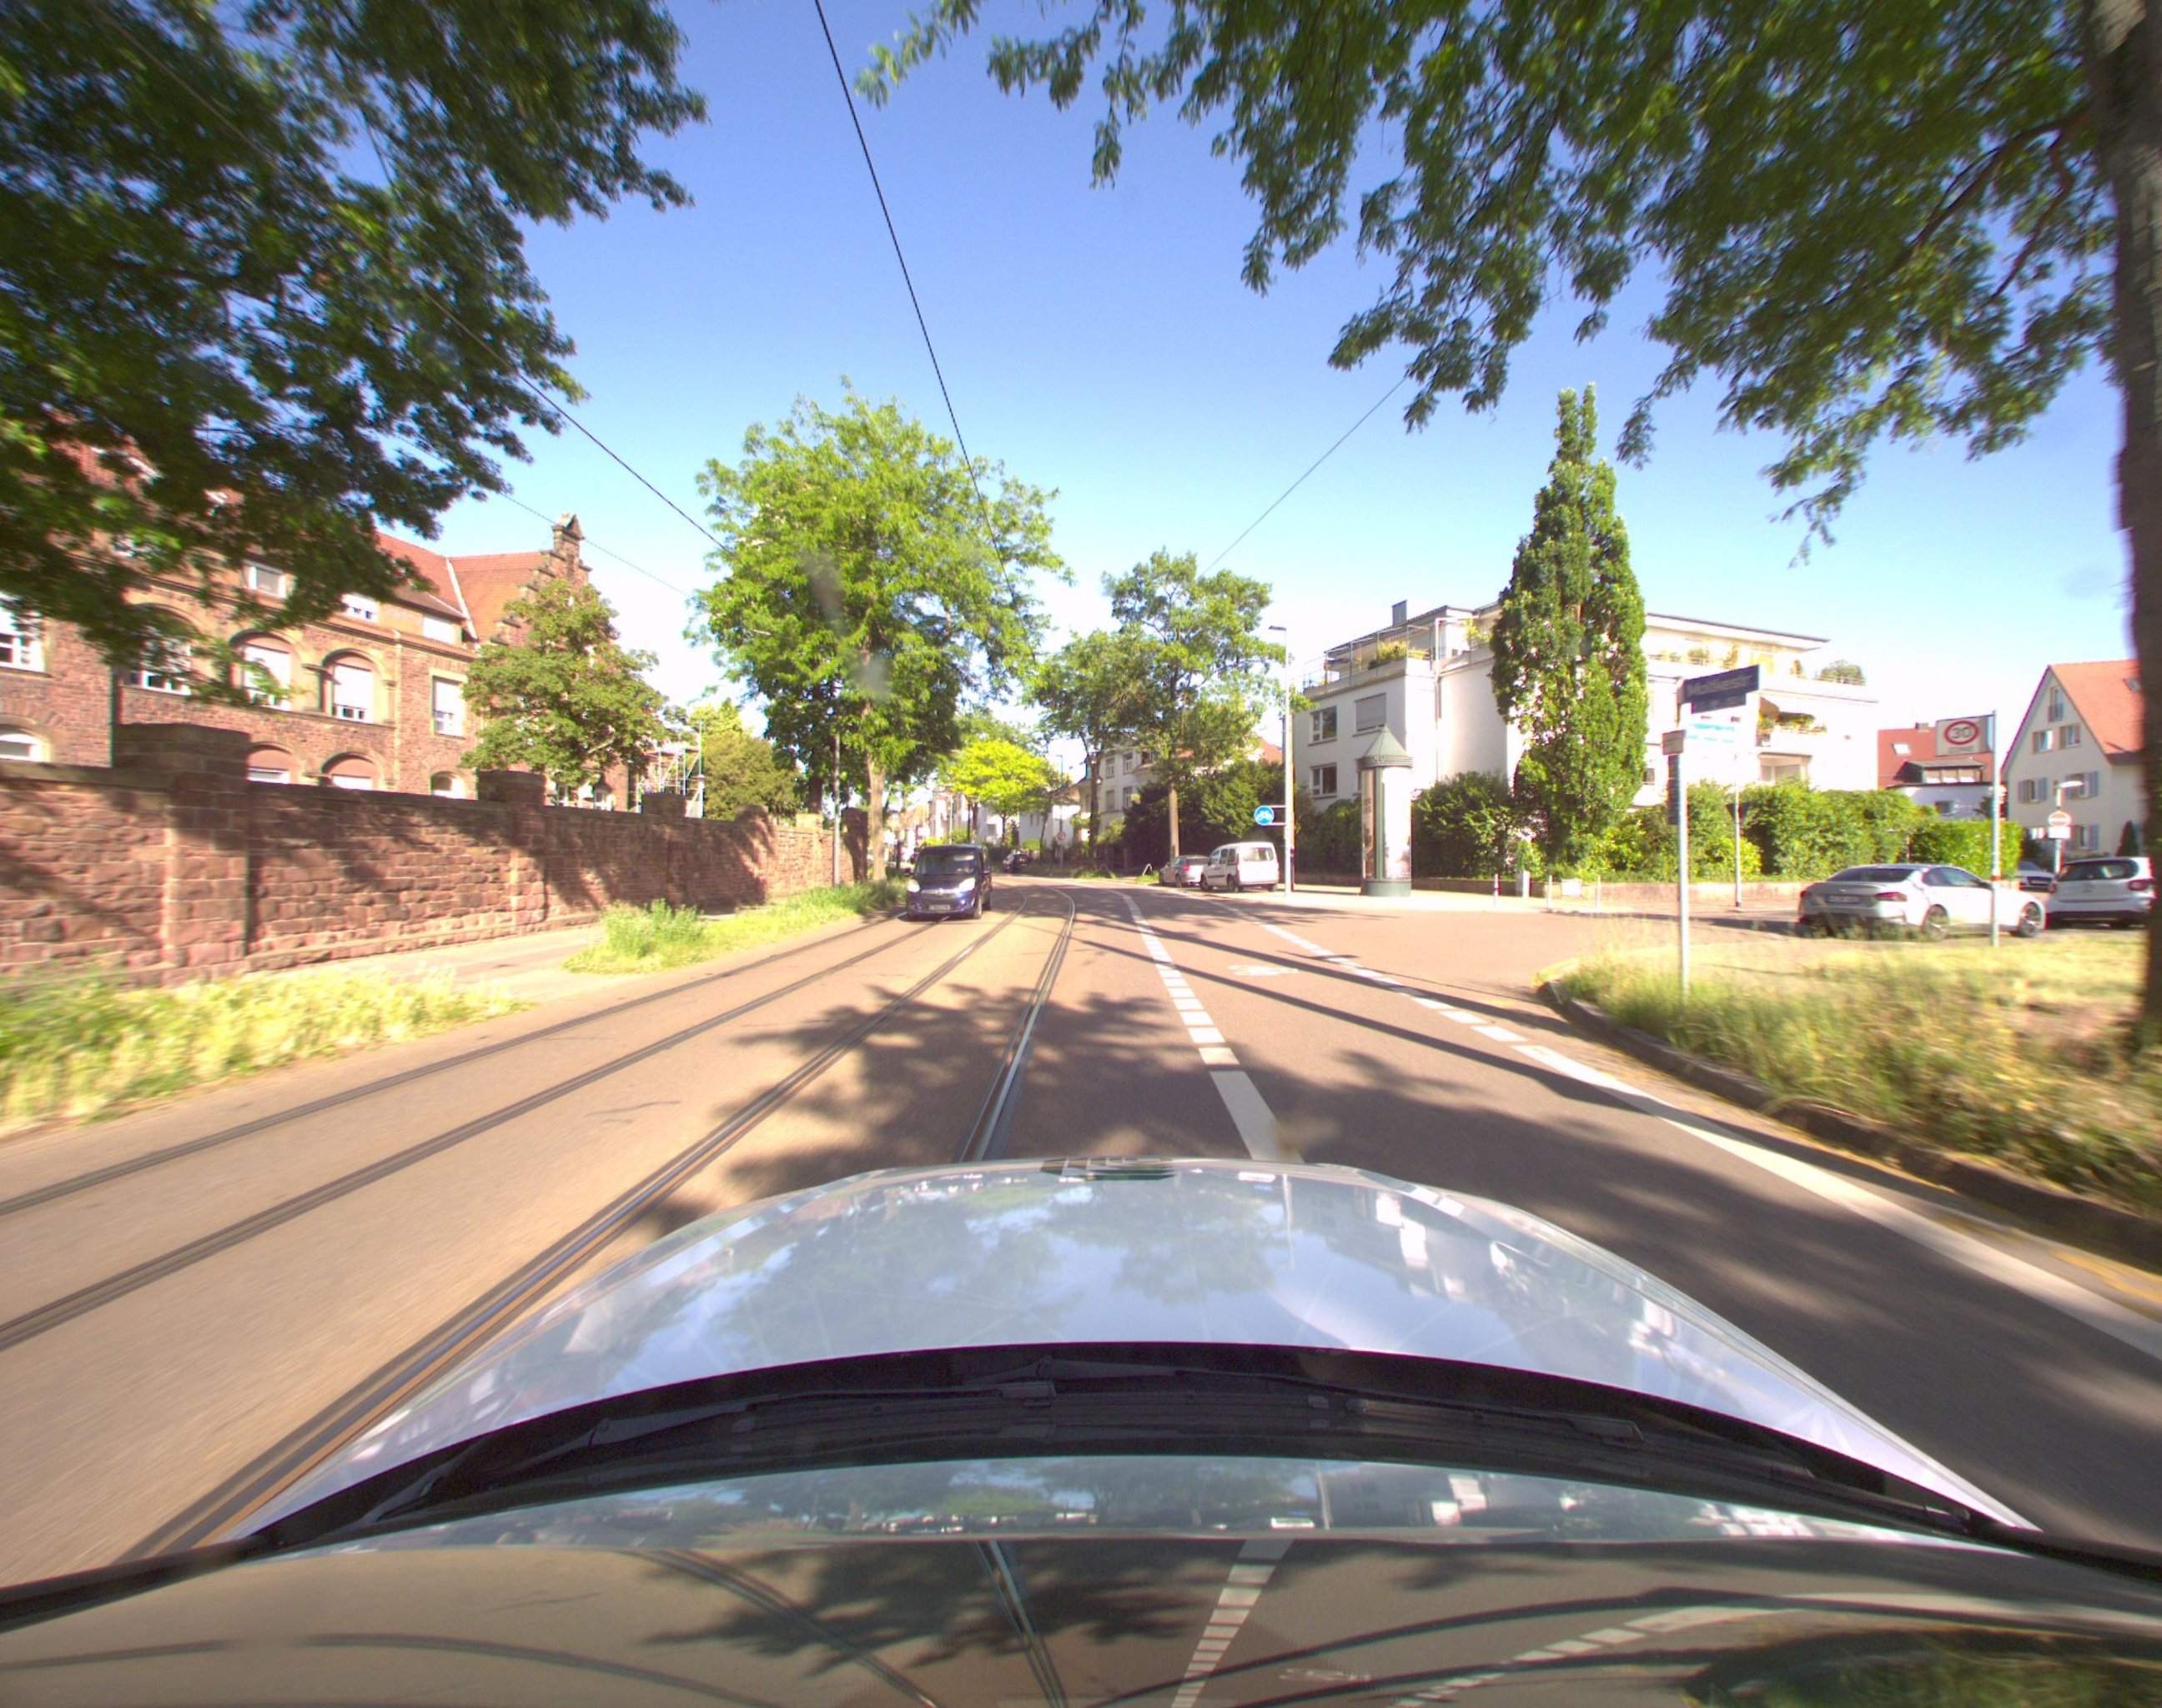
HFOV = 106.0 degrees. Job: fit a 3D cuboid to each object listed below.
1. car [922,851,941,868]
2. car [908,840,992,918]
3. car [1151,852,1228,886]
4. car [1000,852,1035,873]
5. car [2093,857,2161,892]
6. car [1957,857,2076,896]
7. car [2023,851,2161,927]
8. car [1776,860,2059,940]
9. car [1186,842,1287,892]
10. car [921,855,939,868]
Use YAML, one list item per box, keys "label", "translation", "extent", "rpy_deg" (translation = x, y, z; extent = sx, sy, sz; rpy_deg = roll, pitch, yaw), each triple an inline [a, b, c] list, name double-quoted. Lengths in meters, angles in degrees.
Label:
- label: "car"
  translation: [-15.403, 0.553, 83.731]
  extent: [1.893, 1.611, 4.212]
  rpy_deg: [0, -2, -11]
- label: "car"
  translation: [-3.271, 0.576, 20.981]
  extent: [1.629, 1.792, 4.334]
  rpy_deg: [0, 0, -2]
- label: "car"
  translation: [4.861, 0.657, 37.111]
  extent: [1.997, 1.423, 4.310]
  rpy_deg: [0, -1, -15]
- label: "car"
  translation: [-5.460, 0.702, 69.240]
  extent: [1.809, 1.694, 4.700]
  rpy_deg: [-3, 1, -18]
- label: "car"
  translation: [49.793, 0.920, 37.717]
  extent: [1.976, 1.519, 4.022]
  rpy_deg: [0, 0, 23]
- label: "car"
  translation: [43.619, 1.002, 38.121]
  extent: [2.027, 1.708, 4.312]
  rpy_deg: [0, 0, 24]
- label: "car"
  translation: [23.204, 0.739, 17.583]
  extent: [4.282, 1.511, 1.833]
  rpy_deg: [0, -3, -11]
- label: "car"
  translation: [16.019, 0.799, 15.641]
  extent: [4.521, 1.369, 1.957]
  rpy_deg: [0, 0, -17]
- label: "car"
  translation: [5.837, 0.444, 31.205]
  extent: [2.025, 1.746, 4.729]
  rpy_deg: [0, 0, -14]
- label: "car"
  translation: [-17.526, 0.839, 94.567]
  extent: [1.993, 1.442, 3.987]
  rpy_deg: [0, 0, -10]
